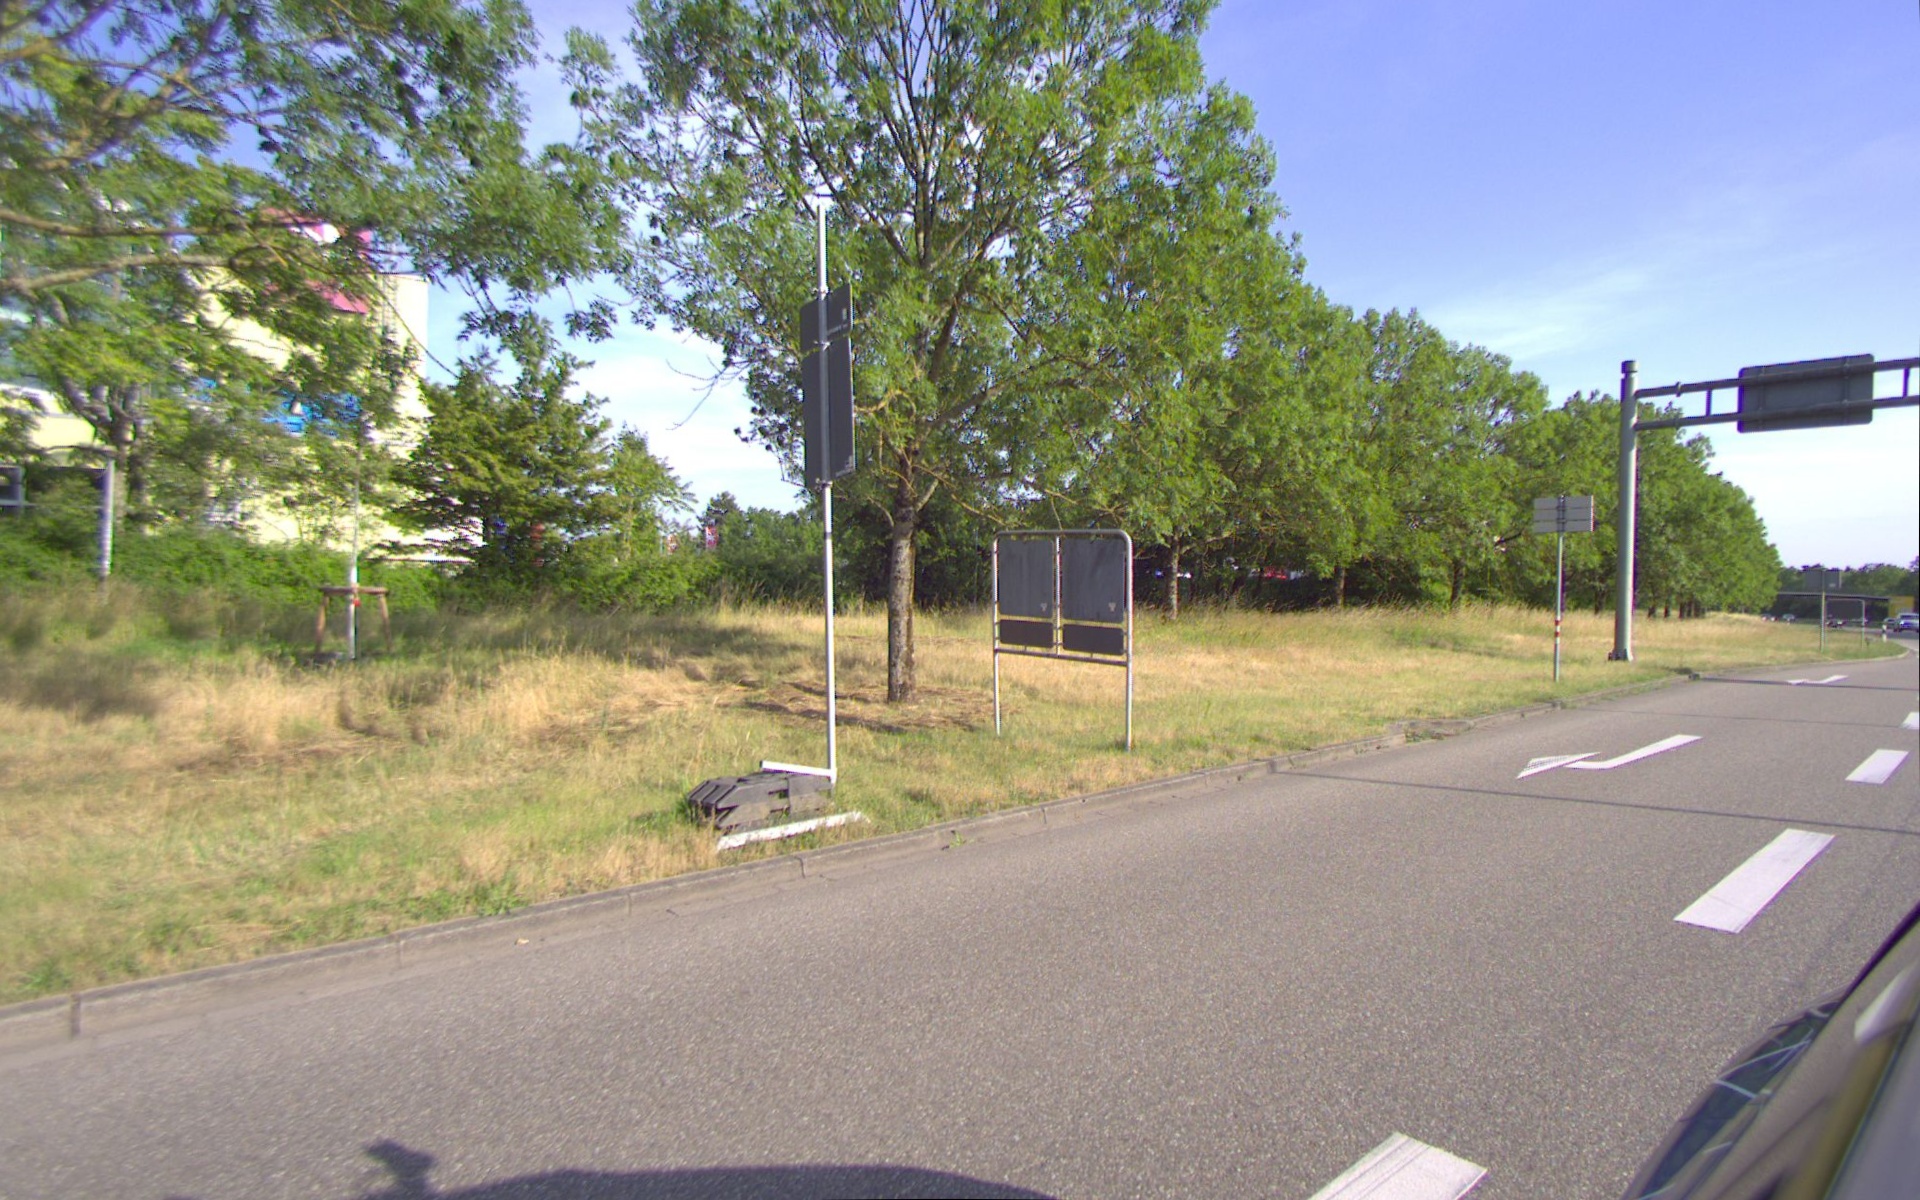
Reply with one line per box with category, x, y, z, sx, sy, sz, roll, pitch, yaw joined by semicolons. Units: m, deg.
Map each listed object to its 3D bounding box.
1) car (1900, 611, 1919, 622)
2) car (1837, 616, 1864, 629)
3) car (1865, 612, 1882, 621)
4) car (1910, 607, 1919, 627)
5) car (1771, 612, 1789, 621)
car;130.577;2.233;139.070;1.598;1.460;3.194;0;-1;36
car;102.547;2.582;116.602;1.890;1.403;4.300;0;-1;35
car;154.095;2.737;170.705;1.597;1.459;3.196;0;-1;34
car;90.467;1.602;94.489;1.890;1.847;4.300;0;-1;35
car;144.903;2.844;178.776;1.881;1.474;3.867;2;2;31
